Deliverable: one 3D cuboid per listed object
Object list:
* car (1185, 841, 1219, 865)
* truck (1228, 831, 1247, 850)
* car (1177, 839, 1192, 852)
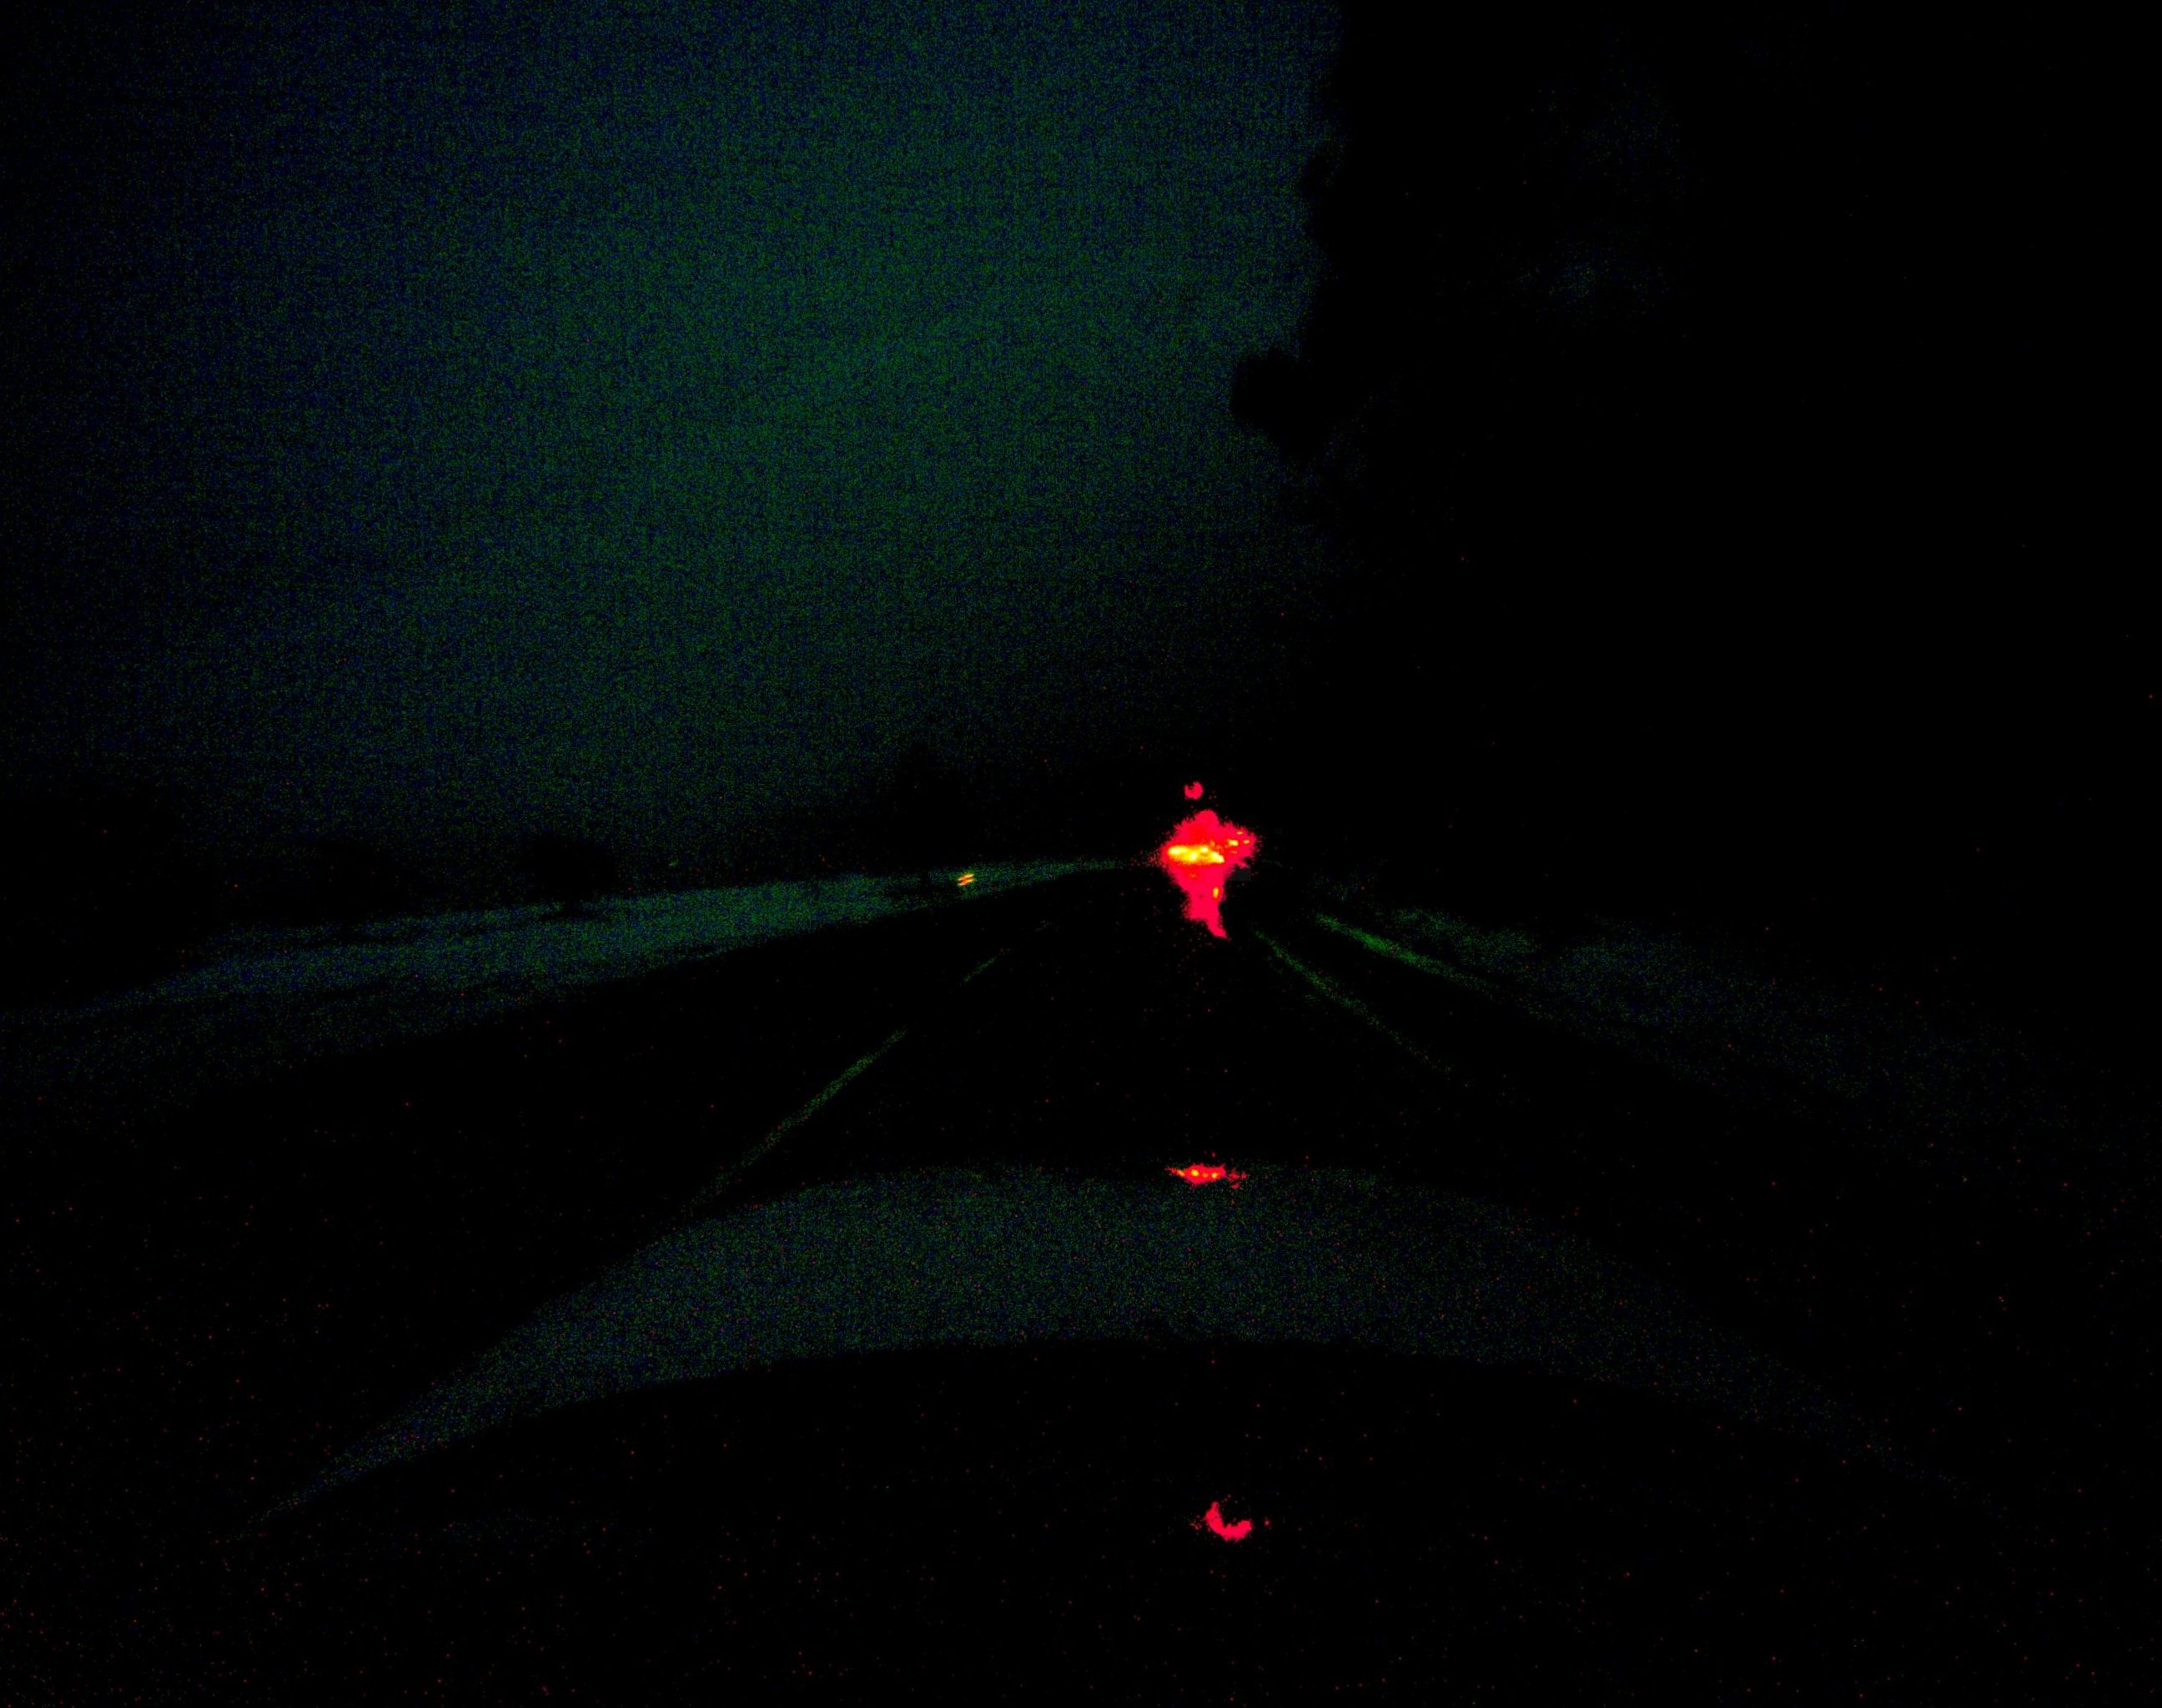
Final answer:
[{"bbox_3d":[7.655,-0.102,51.174,1.909,1.276,4.013,-3,2,11],"label":"car"},{"bbox_3d":[24.878,-2.144,129.733,2.067,2.745,5.323,-2,1,3],"label":"truck"},{"bbox_3d":[14.747,-1.182,116.039,1.744,1.693,4.432,-4,0,5],"label":"car"}]
